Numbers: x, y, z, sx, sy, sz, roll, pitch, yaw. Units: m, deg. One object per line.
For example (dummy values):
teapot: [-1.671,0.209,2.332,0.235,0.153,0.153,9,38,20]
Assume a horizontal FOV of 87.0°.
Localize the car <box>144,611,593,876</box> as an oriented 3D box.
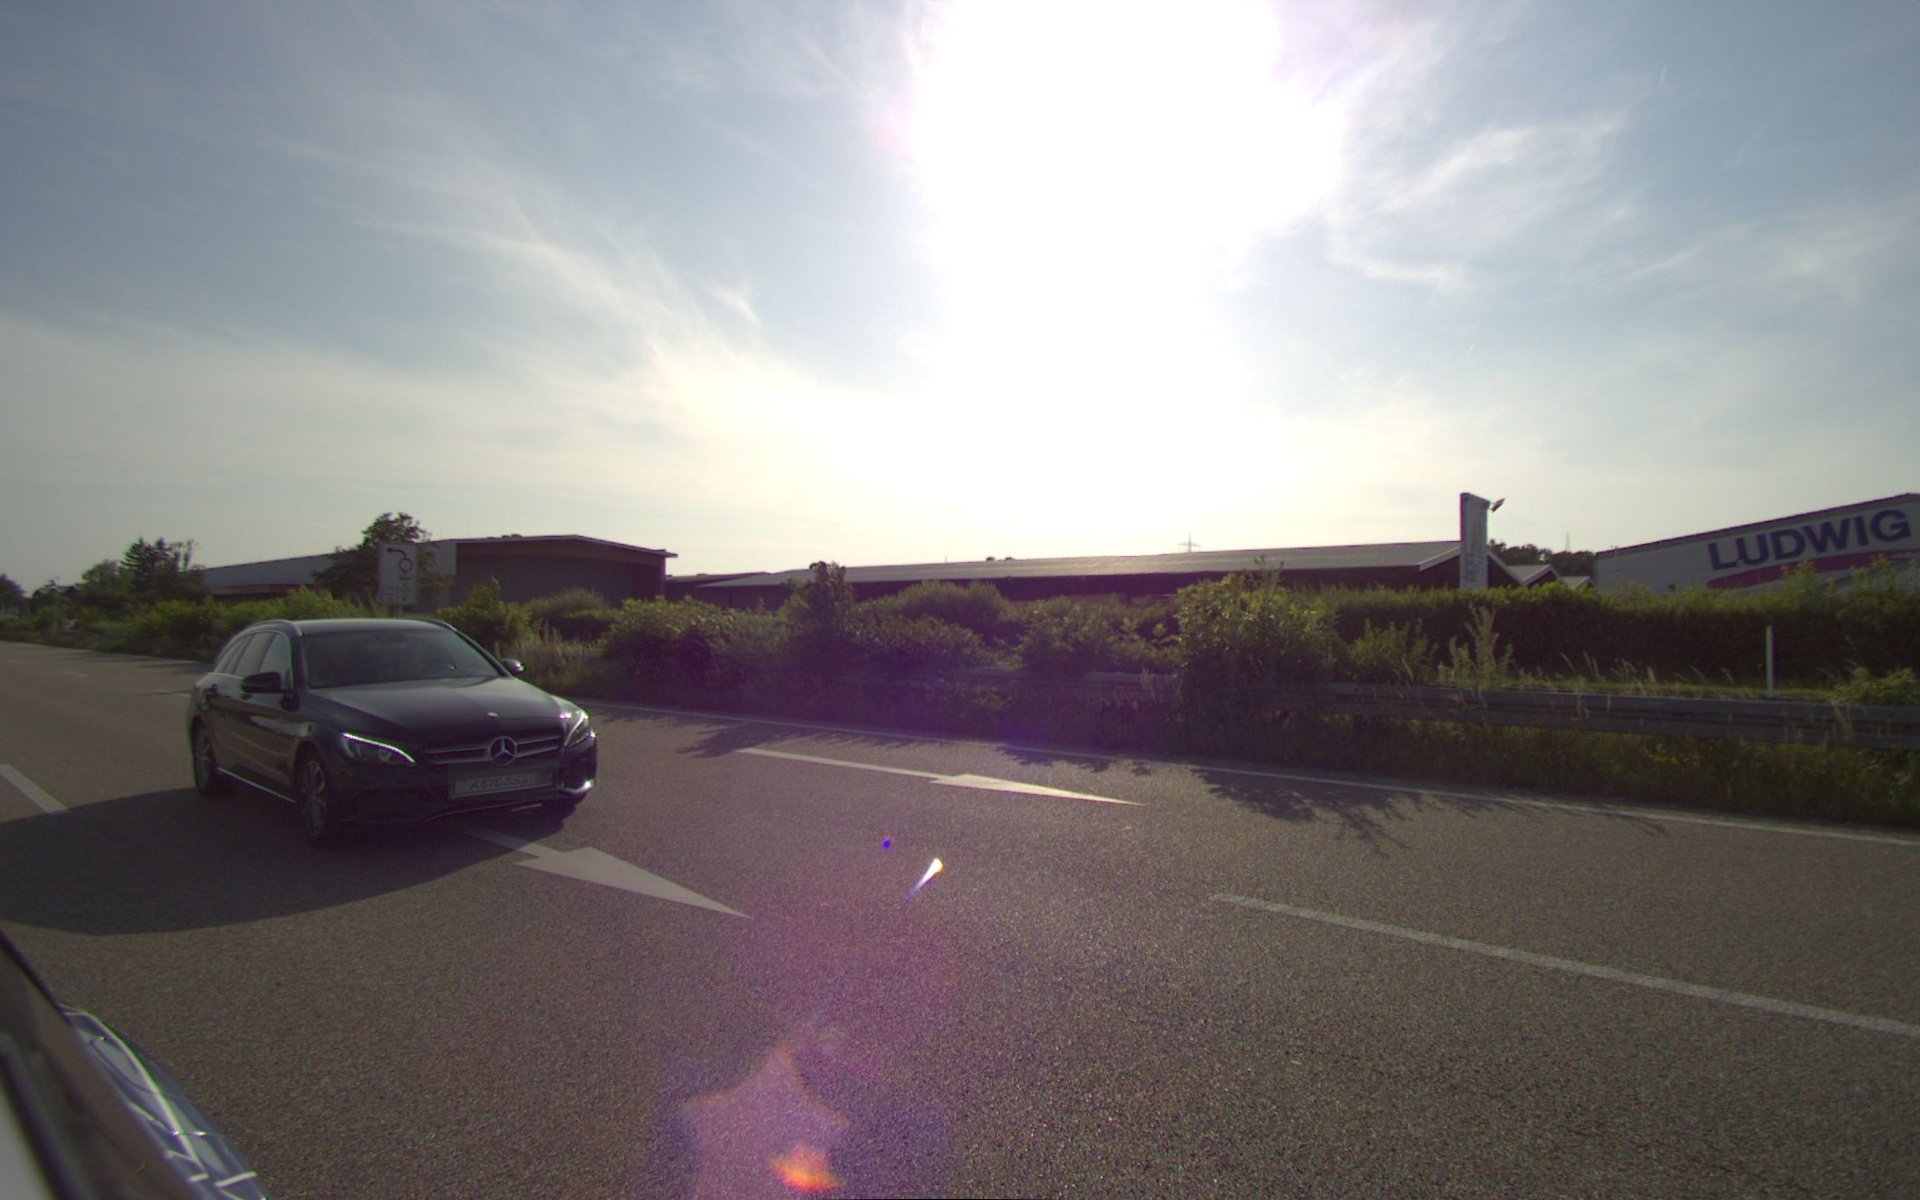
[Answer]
car: [-4.875,0.849,7.944,5.020,1.482,1.556,-1,-2,42]
